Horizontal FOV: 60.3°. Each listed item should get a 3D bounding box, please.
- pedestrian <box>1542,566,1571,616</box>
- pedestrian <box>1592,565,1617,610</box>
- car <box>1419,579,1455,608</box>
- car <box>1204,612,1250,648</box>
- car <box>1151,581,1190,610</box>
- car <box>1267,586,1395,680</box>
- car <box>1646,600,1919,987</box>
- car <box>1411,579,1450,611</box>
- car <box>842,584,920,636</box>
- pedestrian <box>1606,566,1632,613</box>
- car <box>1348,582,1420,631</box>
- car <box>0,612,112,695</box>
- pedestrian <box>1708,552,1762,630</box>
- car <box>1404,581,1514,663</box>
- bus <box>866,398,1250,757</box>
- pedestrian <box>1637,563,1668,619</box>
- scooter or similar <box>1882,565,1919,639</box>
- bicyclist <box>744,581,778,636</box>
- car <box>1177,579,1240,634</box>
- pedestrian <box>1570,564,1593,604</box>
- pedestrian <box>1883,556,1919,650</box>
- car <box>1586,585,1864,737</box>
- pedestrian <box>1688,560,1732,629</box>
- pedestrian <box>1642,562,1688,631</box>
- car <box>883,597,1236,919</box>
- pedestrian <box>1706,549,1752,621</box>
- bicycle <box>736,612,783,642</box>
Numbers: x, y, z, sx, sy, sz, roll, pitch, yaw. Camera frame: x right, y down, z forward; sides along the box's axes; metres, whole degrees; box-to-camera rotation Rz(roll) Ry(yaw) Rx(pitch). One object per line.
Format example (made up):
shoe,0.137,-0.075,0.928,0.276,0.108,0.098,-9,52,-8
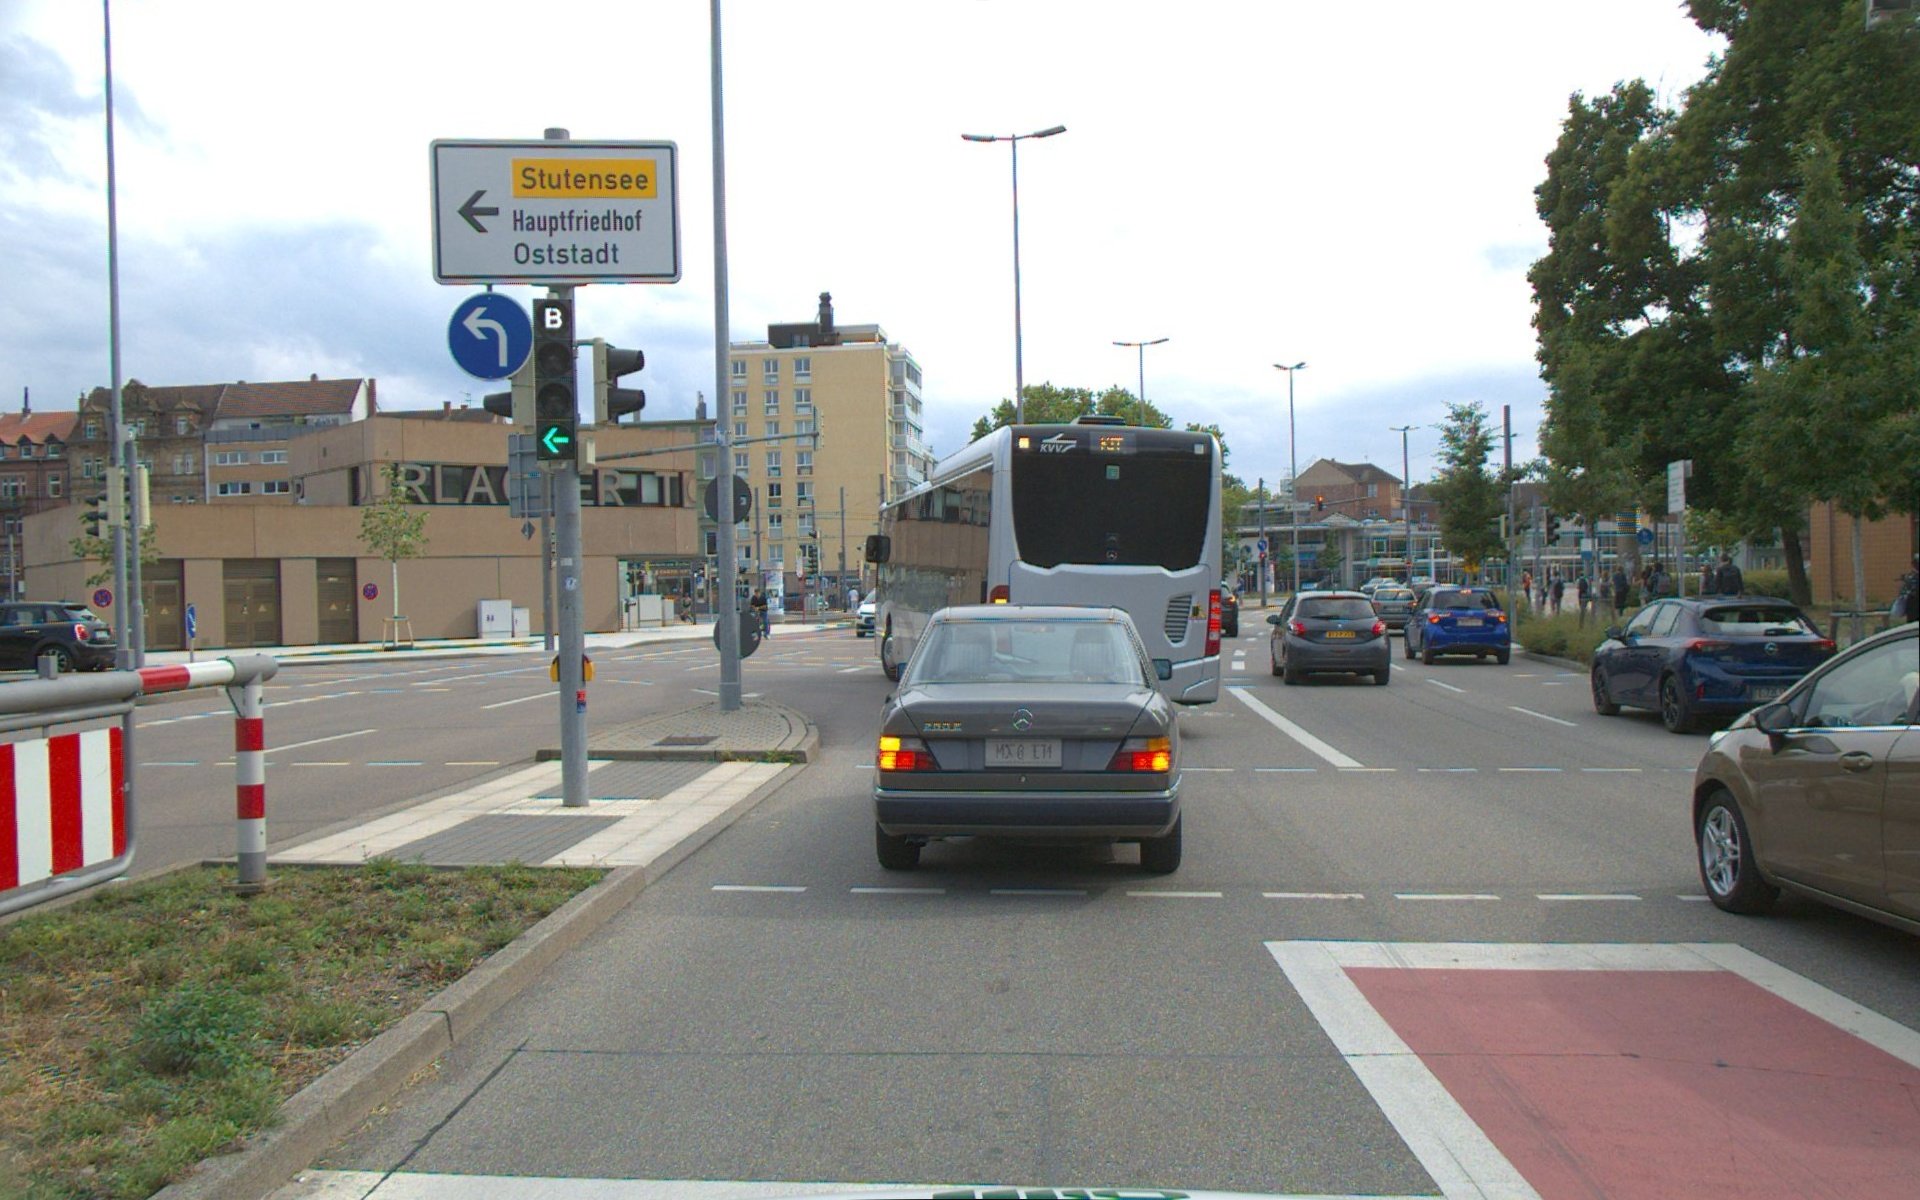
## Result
pedestrian,19.454,-0.297,53.961,0.762,1.601,0.812,-3,0,24
pedestrian,23.659,-0.459,60.729,0.762,1.601,0.812,-3,0,24
car,24.319,-0.325,84.229,1.668,1.445,3.702,0,0,18
car,11.499,1.276,71.516,1.674,1.445,4.002,0,0,5
car,12.670,-0.280,99.283,1.951,1.680,4.516,0,0,12
car,6.085,0.506,27.499,1.674,1.445,4.003,0,0,7
car,4.354,0.715,6.523,1.661,1.429,3.698,0,0,-2
car,22.045,-0.226,77.463,1.668,1.445,3.702,0,0,18
car,-2.595,0.313,55.416,1.951,1.680,4.293,0,0,6
pedestrian,23.441,-0.374,58.809,0.762,1.601,0.812,-3,0,24
car,13.140,0.201,51.313,2.087,1.445,3.703,0,0,14
car,-18.412,0.995,31.251,3.924,1.512,1.991,0,0,-17
pedestrian,17.571,-0.202,37.505,0.762,1.741,1.028,0,0,1
car,10.060,0.415,33.571,1.818,1.559,4.005,0,0,12
bus,0.612,-0.205,23.698,2.654,3.498,14.158,-3,0,-8
pedestrian,20.618,-0.265,49.248,0.762,1.601,0.812,-3,0,24
scooter or similar,18.305,0.038,31.759,0.391,1.394,1.144,0,0,-12
bicyclist,-6.186,0.270,51.373,0.848,1.698,0.881,0,0,7
car,7.593,0.195,50.772,1.795,1.643,3.549,0,0,7
pedestrian,25.310,-0.648,67.401,0.762,1.601,0.812,-3,0,24
pedestrian,16.819,0.036,28.977,0.762,1.601,0.812,-3,0,1
car,8.460,0.621,18.631,1.631,1.534,3.636,0,0,3
pedestrian,19.263,-0.138,42.499,0.762,1.741,0.812,0,0,1
pedestrian,18.018,-0.091,42.276,0.762,1.741,1.028,0,0,1
car,0.391,0.742,9.978,1.661,1.506,4.414,0,0,-2
pedestrian,18.855,-0.358,40.552,0.762,1.741,0.812,0,0,1
bicycle,-6.205,0.811,51.246,0.844,0.892,2.521,0,0,7
